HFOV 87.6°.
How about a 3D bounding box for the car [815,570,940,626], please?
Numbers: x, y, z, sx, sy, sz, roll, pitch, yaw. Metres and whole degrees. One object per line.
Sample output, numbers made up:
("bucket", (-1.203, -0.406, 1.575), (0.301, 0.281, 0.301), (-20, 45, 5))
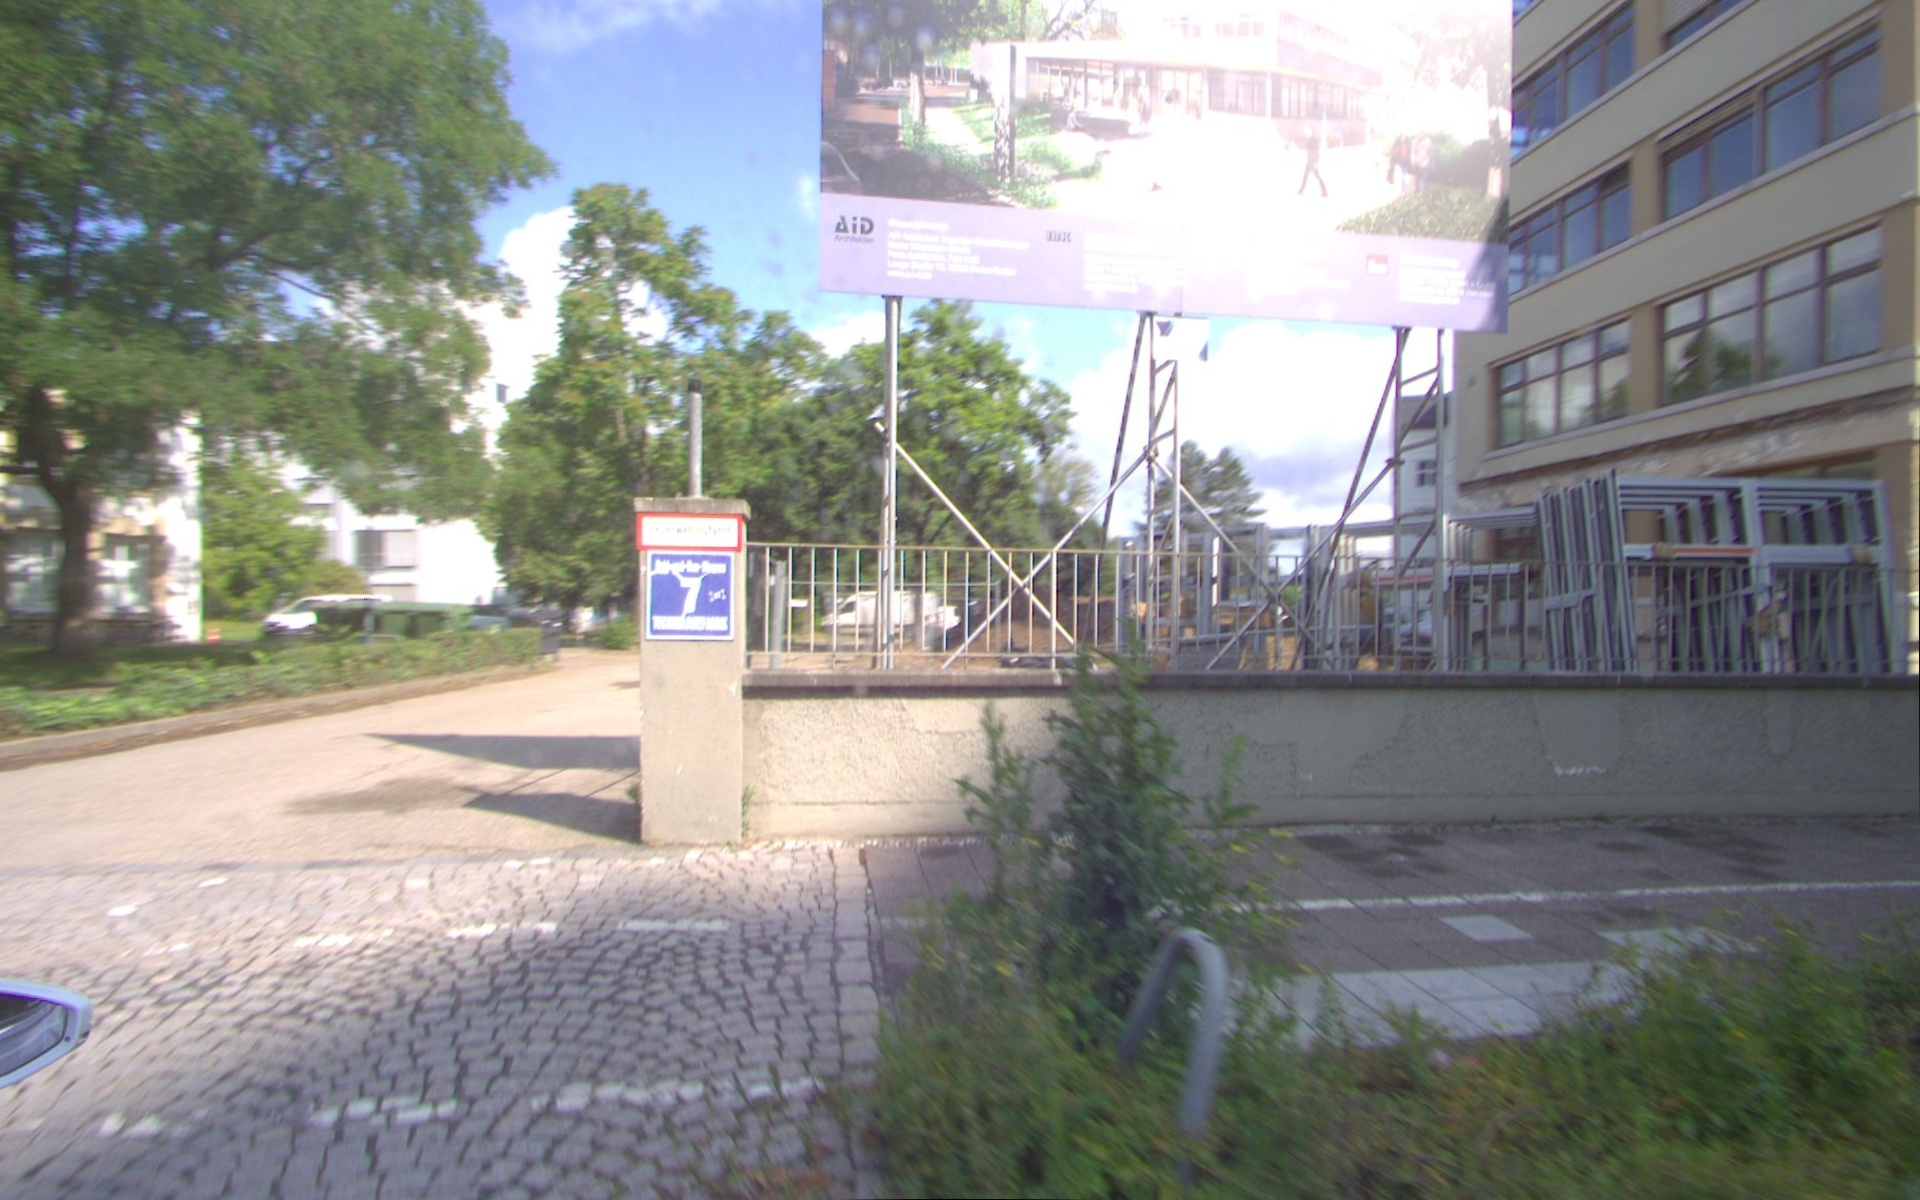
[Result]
("car", (-4.670, -0.107, 57.298), (6.839, 3.087, 2.000), (0, -1, 5))

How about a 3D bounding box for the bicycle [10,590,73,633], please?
("bicycle", (-24.099, 0.312, 26.267), (2.033, 1.069, 0.419), (-1, -2, 24))

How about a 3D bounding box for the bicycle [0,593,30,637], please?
("bicycle", (-24.550, 0.402, 25.564), (2.033, 1.069, 0.419), (-1, -2, 24))

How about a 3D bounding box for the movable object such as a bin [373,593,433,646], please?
("movable object such as a bin", (-15.871, 0.559, 28.558), (1.211, 1.470, 0.880), (-1, -2, 14))

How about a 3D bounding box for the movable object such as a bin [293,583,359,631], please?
("movable object such as a bin", (-18.454, 0.219, 29.173), (1.356, 1.366, 0.946), (-1, -2, 14))

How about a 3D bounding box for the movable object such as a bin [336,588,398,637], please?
("movable object such as a bin", (-17.110, 0.370, 28.911), (1.211, 1.366, 0.946), (-1, -2, 14))

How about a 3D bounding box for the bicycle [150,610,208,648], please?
("bicycle", (-23.012, 0.853, 29.493), (2.033, 1.070, 0.418), (-1, 1, 24))

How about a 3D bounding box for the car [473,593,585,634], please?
("car", (-16.497, 0.503, 38.527), (1.728, 1.438, 3.909), (-2, -1, 19))

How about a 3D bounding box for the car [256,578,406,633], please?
("car", (-25.524, 0.266, 40.875), (1.967, 1.989, 4.944), (-4, -2, 21))

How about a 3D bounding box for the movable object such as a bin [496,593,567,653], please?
("movable object such as a bin", (-11.341, 0.608, 26.526), (1.280, 1.501, 1.241), (2, -1, 40))

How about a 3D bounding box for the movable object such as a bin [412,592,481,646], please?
("movable object such as a bin", (-14.451, 0.555, 28.203), (1.318, 1.470, 1.103), (-1, -2, 14))
